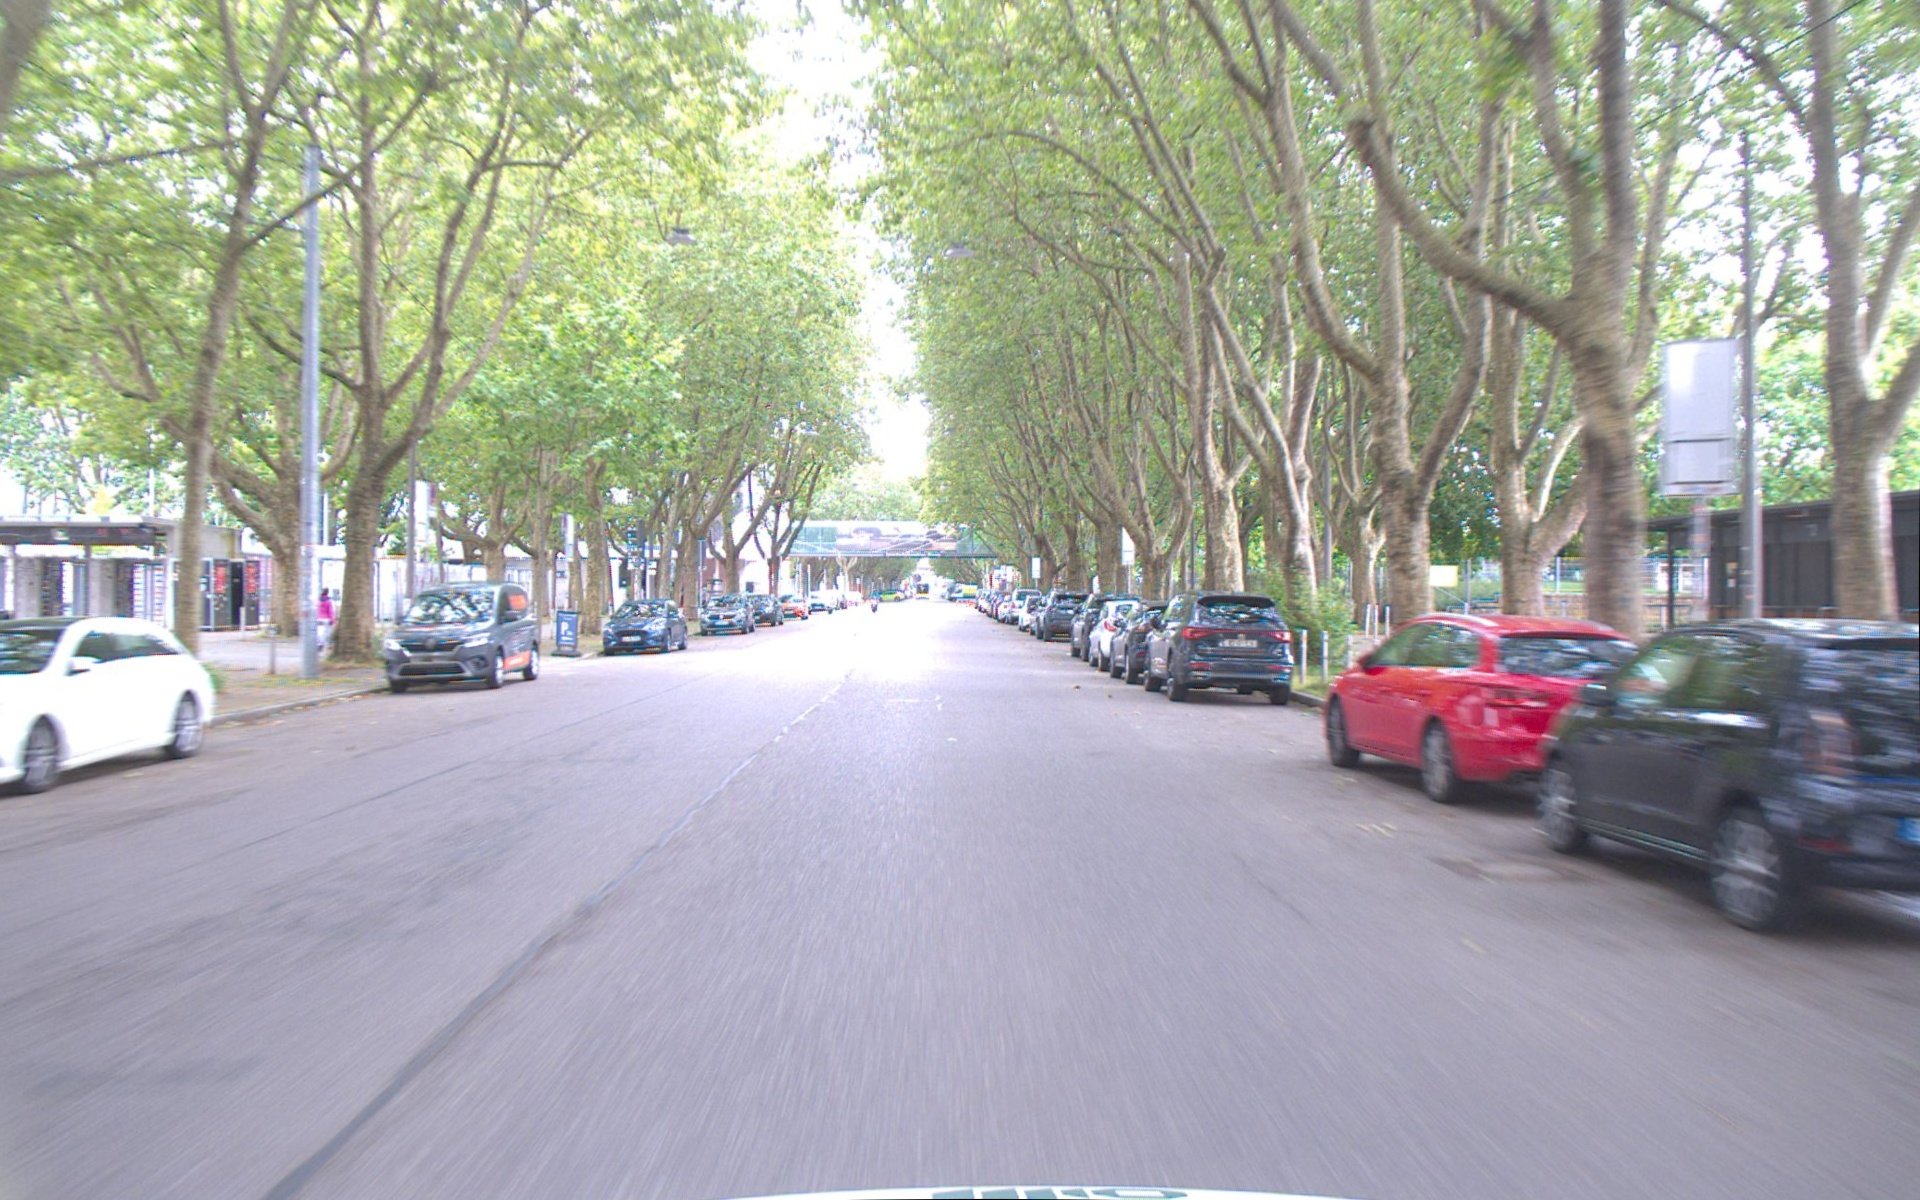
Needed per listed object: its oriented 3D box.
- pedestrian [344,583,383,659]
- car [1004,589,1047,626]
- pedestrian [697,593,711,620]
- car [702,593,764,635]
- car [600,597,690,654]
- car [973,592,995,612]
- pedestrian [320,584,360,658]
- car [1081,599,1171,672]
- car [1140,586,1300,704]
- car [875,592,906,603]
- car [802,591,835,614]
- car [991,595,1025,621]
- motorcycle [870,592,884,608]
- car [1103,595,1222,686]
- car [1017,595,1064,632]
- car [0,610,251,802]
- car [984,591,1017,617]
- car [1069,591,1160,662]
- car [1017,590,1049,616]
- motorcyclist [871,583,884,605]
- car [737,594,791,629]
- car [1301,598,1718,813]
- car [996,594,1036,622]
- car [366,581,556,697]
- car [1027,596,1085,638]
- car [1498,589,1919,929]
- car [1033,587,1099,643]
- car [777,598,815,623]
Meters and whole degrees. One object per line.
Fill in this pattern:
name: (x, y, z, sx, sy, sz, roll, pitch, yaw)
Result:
pedestrian: (-14.340, 0.506, 39.769, 0.564, 1.801, 0.768, 0, 0, 14)
car: (3.221, 0.370, 81.862, 1.864, 1.769, 4.505, 0, 0, -1)
pedestrian: (-15.270, 0.390, 98.629, 0.580, 1.648, 0.792, 0, 0, 8)
car: (-8.737, 0.507, 64.023, 1.840, 1.553, 4.150, -1, 0, -1)
car: (-8.735, 0.671, 46.202, 1.689, 1.512, 4.574, 0, 0, -1)
car: (2.155, 0.197, 151.266, 1.810, 1.814, 5.210, 1, 0, -1)
pedestrian: (-14.951, 0.502, 39.900, 0.562, 1.772, 0.768, 0, 0, 14)
car: (3.646, 0.756, 36.834, 1.583, 1.466, 3.710, 2, 0, 0)
car: (3.990, 0.645, 26.072, 1.720, 1.648, 4.438, 2, 0, -1)
car: (-10.594, -0.428, 251.253, 4.604, 1.612, 1.864, 0, 0, 0)
car: (-10.057, 0.184, 117.941, 2.031, 1.590, 4.755, 0, 0, -1)
car: (2.849, 0.486, 98.742, 1.819, 1.507, 4.176, 0, 0, -1)
motorcycle: (-5.763, 0.018, 114.664, 0.856, 1.098, 3.050, 0, 0, -4)
car: (3.775, 0.711, 31.426, 1.634, 1.535, 4.353, 2, 0, -1)
car: (3.278, 0.535, 68.112, 1.673, 1.452, 3.888, 2, 0, -1)
car: (-8.368, 0.880, 14.944, 1.865, 1.427, 4.750, -3, 0, -1)
car: (2.729, 0.291, 112.314, 1.941, 1.709, 4.729, 0, 0, -2)
car: (3.889, 0.635, 42.207, 1.742, 1.702, 4.636, 0, 0, -2)
car: (4.653, 0.172, 105.363, 1.766, 1.583, 3.999, 0, 1, -2)
motorcyclist: (-5.747, -0.421, 114.666, 0.853, 1.506, 1.264, 0, 0, -4)
car: (-8.907, 0.506, 75.481, 1.789, 1.491, 4.628, -1, 0, 1)
car: (4.435, 0.762, 14.193, 1.683, 1.463, 4.624, 2, 0, -5)
car: (2.963, 0.395, 87.697, 1.839, 1.452, 4.584, 0, 0, -2)
car: (-8.423, 0.608, 28.346, 1.909, 1.781, 4.637, -1, 0, -2)
car: (3.509, 0.596, 61.164, 1.673, 1.440, 4.358, 1, 0, -3)
car: (4.609, 0.732, 9.436, 1.695, 1.495, 4.080, 3, 0, 0)
car: (3.505, 0.467, 55.284, 1.673, 1.728, 4.628, 2, 0, -2)
car: (-9.211, 0.589, 93.247, 1.771, 1.378, 3.999, 0, 0, -1)
